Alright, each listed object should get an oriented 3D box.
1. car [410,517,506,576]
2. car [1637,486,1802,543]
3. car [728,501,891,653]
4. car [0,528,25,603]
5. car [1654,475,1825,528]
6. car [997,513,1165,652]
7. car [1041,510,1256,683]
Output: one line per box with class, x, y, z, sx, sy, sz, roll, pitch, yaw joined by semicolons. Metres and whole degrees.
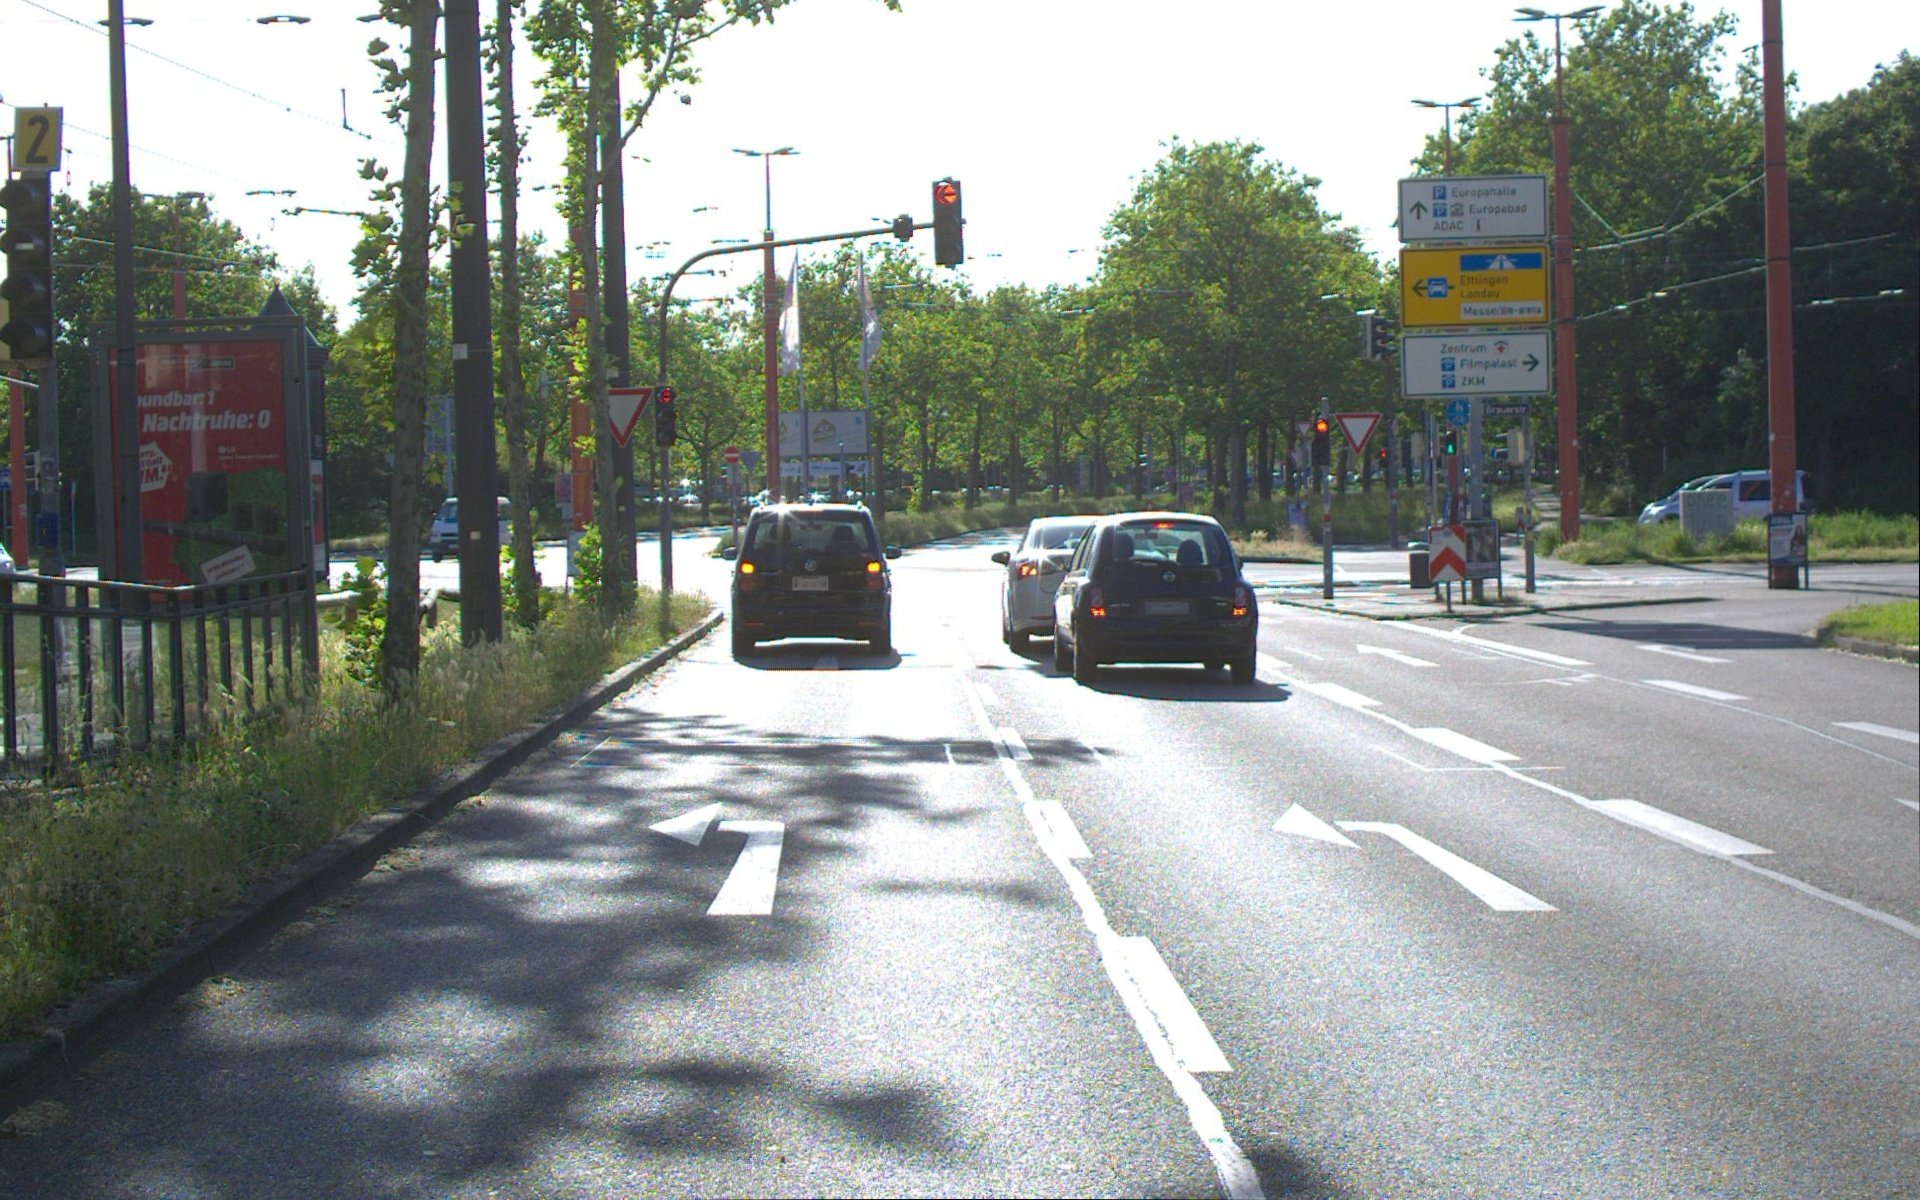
car;-15.676;-1.673;107.503;1.823;1.774;4.566;0;1;7
car;20.184;-2.268;91.319;3.992;1.471;1.787;1;1;24
car;-1.669;-0.272;37.983;1.710;1.598;3.350;0;1;-3
car;-19.338;-0.664;66.010;1.631;1.444;3.718;0;1;3
car;19.926;-2.514;87.838;3.992;1.333;1.727;1;1;25
car;1.311;-0.217;38.613;1.678;1.470;4.131;0;1;-1
car;1.701;-0.073;32.013;1.638;1.489;3.504;0;2;-3
